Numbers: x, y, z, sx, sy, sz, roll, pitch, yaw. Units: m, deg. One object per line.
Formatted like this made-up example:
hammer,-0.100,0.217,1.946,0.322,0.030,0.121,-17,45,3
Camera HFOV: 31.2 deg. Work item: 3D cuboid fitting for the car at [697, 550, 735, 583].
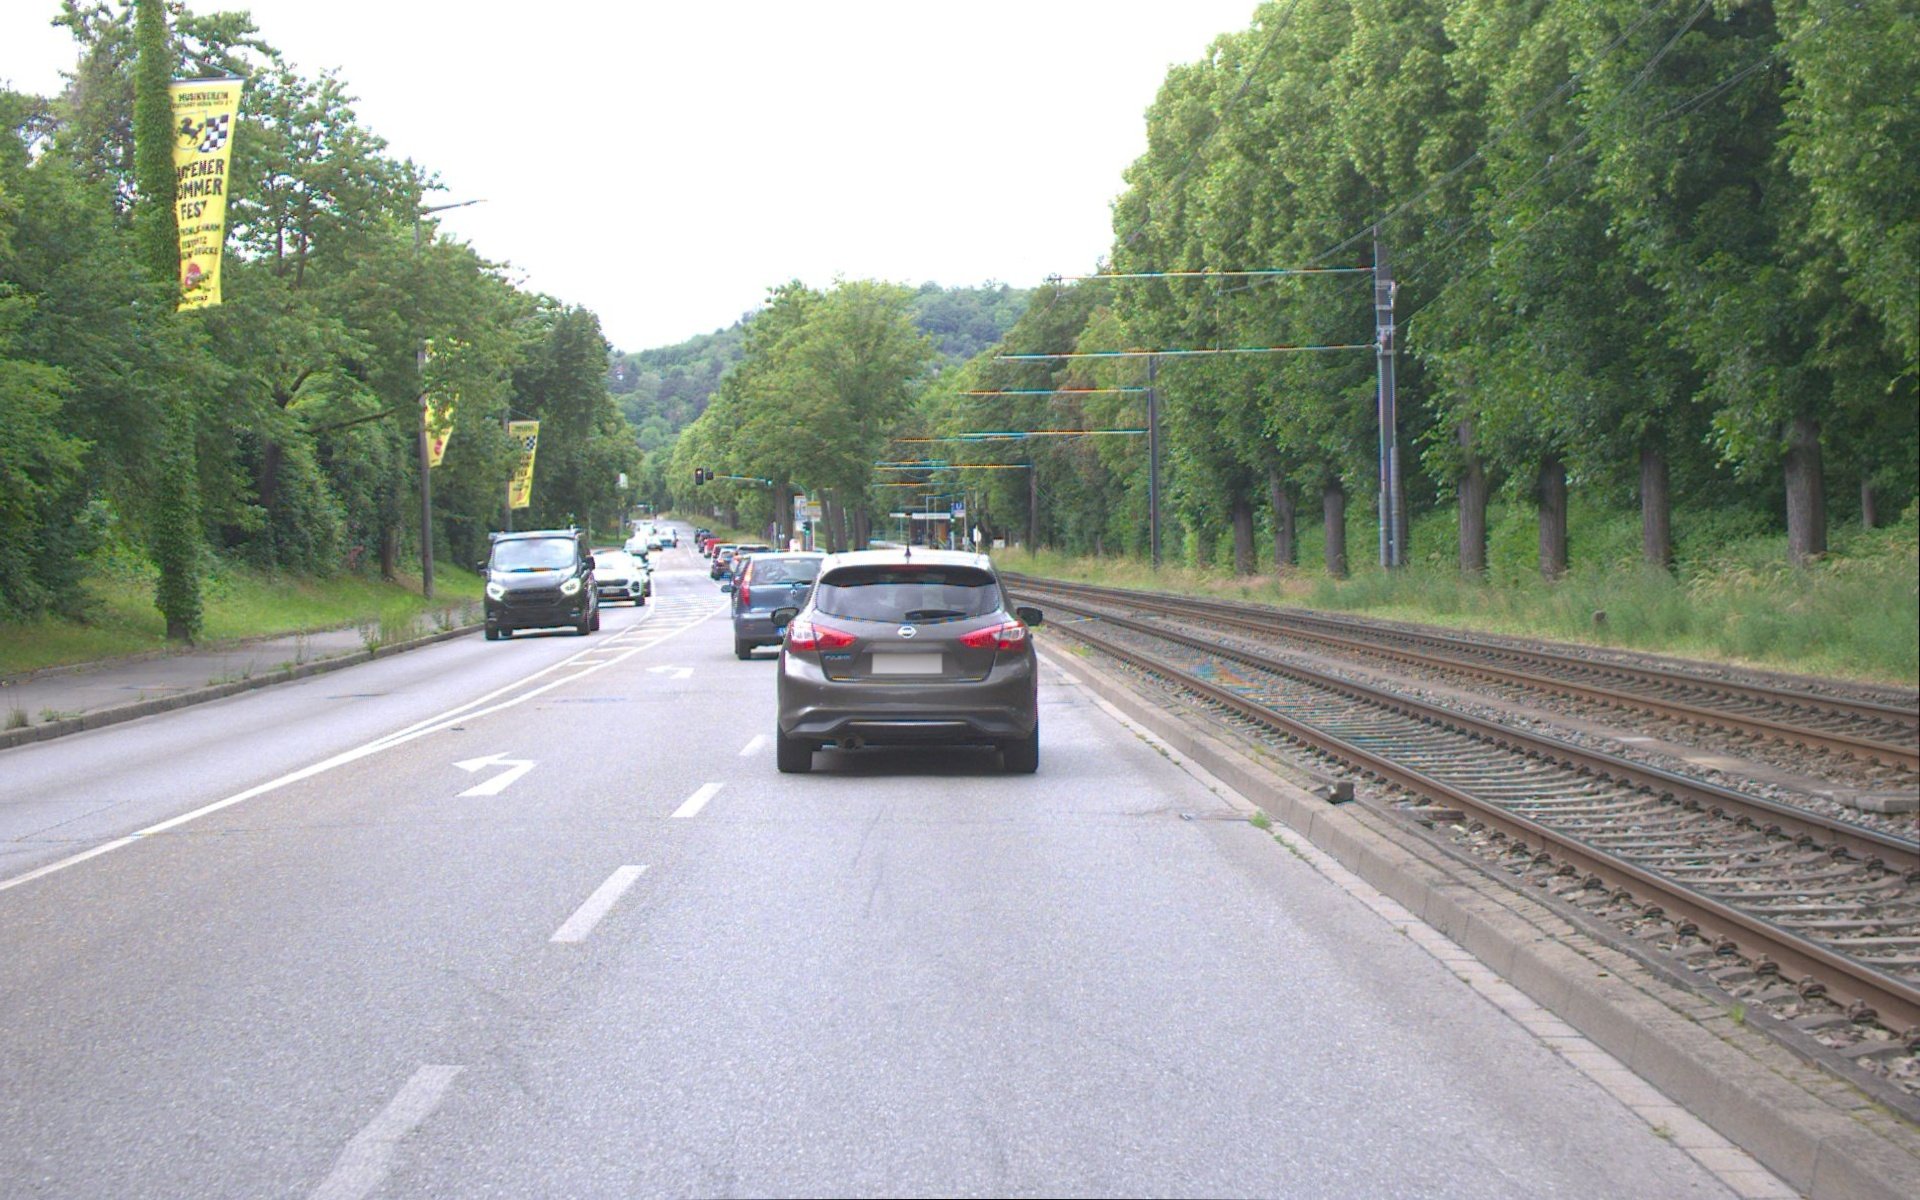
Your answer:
car,-12.737,-1.737,179.517,1.700,1.708,4.000,0,1,0

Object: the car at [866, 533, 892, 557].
car,-5.785,-3.934,245.823,1.715,1.657,3.708,0,0,-4

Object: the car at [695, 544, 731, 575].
car,-13.589,-2.221,189.082,1.700,1.708,4.000,0,1,0

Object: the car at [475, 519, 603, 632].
car,-8.172,-0.499,67.087,1.993,2.029,5.116,-2,1,-2

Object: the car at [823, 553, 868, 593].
car,-4.461,-1.054,133.820,1.715,1.545,4.000,0,0,-2

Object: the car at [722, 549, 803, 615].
car,-4.391,-0.422,76.905,1.699,1.438,4.000,0,1,-2

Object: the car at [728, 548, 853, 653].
car,-2.387,-0.019,49.126,1.699,1.438,4.000,0,1,-2

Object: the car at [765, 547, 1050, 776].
car,-0.354,0.379,24.423,1.850,1.488,4.000,0,1,0

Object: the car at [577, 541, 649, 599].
car,-10.357,-0.901,102.819,1.841,1.615,4.160,-2,1,-2

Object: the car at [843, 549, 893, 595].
car,-3.183,-0.959,118.366,1.715,1.545,4.000,0,0,-2

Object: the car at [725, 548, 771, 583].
car,-9.297,-1.525,150.970,1.794,1.505,4.000,0,1,0
